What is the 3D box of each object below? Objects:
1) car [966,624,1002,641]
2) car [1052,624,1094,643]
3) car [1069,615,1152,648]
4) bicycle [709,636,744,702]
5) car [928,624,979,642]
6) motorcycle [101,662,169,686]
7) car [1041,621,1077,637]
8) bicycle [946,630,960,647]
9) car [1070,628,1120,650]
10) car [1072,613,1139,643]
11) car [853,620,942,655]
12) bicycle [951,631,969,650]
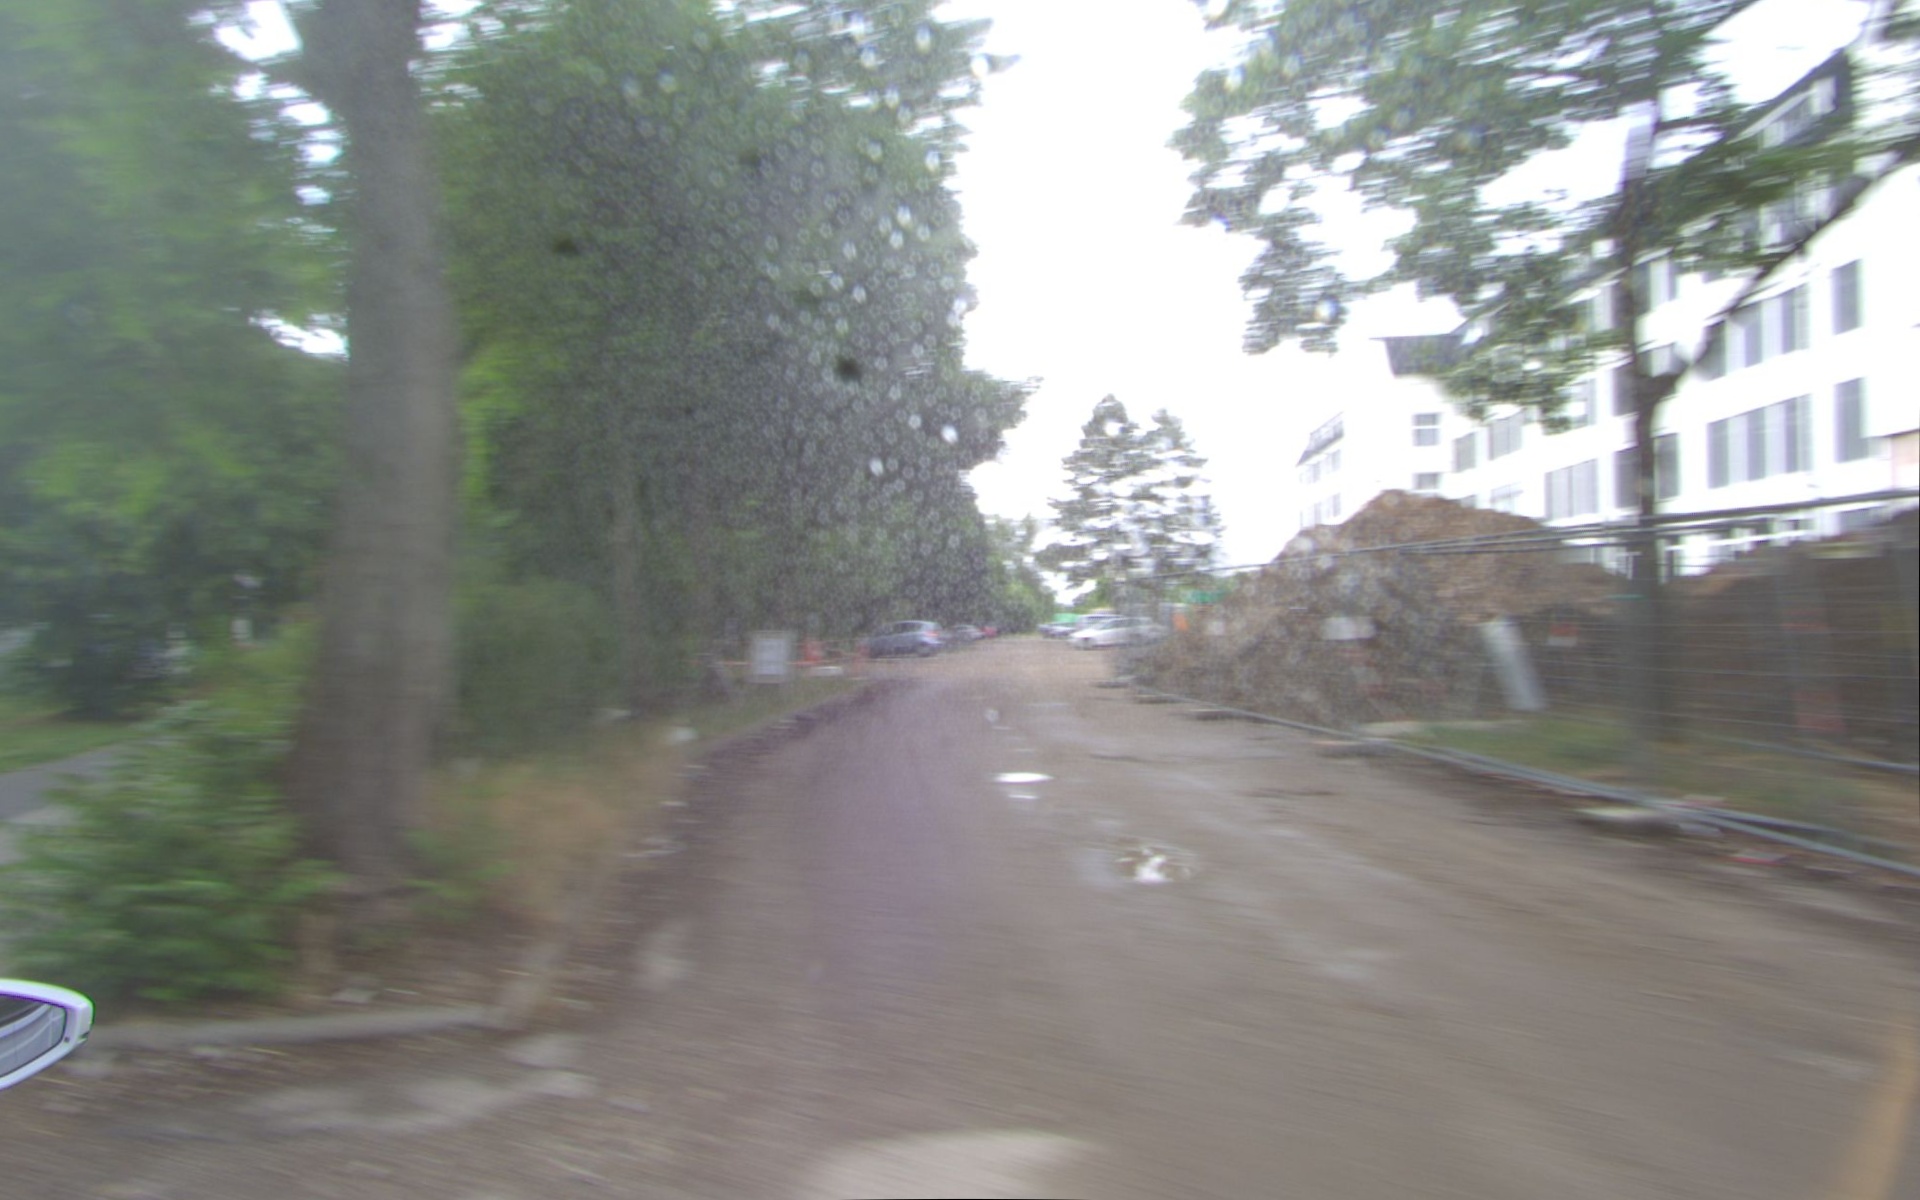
[{"bbox_3d":[2.492,3.349,103.289,3.582,1.684,1.782,0,-1,4],"label":"car"},{"bbox_3d":[10.770,3.205,95.758,3.922,1.806,2.000,-1,-1,3],"label":"car"},{"bbox_3d":[7.435,1.545,49.383,3.977,1.552,1.848,-1,-1,11],"label":"car"},{"bbox_3d":[-3.488,1.015,15.011,0.412,0.917,1.153,5,-2,-12],"label":"bicycle"},{"bbox_3d":[-0.538,2.807,85.522,3.939,1.527,1.992,0,-1,-27],"label":"car"},{"bbox_3d":[-36.190,3.247,44.006,0.945,0.892,3.191,0,-2,-12],"label":"motorcycle"},{"bbox_3d":[10.978,3.242,111.670,3.922,1.806,2.000,-1,-1,3],"label":"car"},{"bbox_3d":[-0.423,2.340,60.868,0.579,0.990,2.031,0,-1,-7],"label":"bicycle"},{"bbox_3d":[10.961,3.171,81.624,3.922,1.806,2.000,-1,-1,3],"label":"car"},{"bbox_3d":[9.022,1.716,62.396,3.922,1.806,1.930,-1,-1,3],"label":"car"},{"bbox_3d":[-2.756,1.664,44.551,3.639,1.520,1.868,-1,-1,7],"label":"car"},{"bbox_3d":[-0.011,2.193,54.821,0.758,0.990,2.031,0,-1,-7],"label":"bicycle"}]
